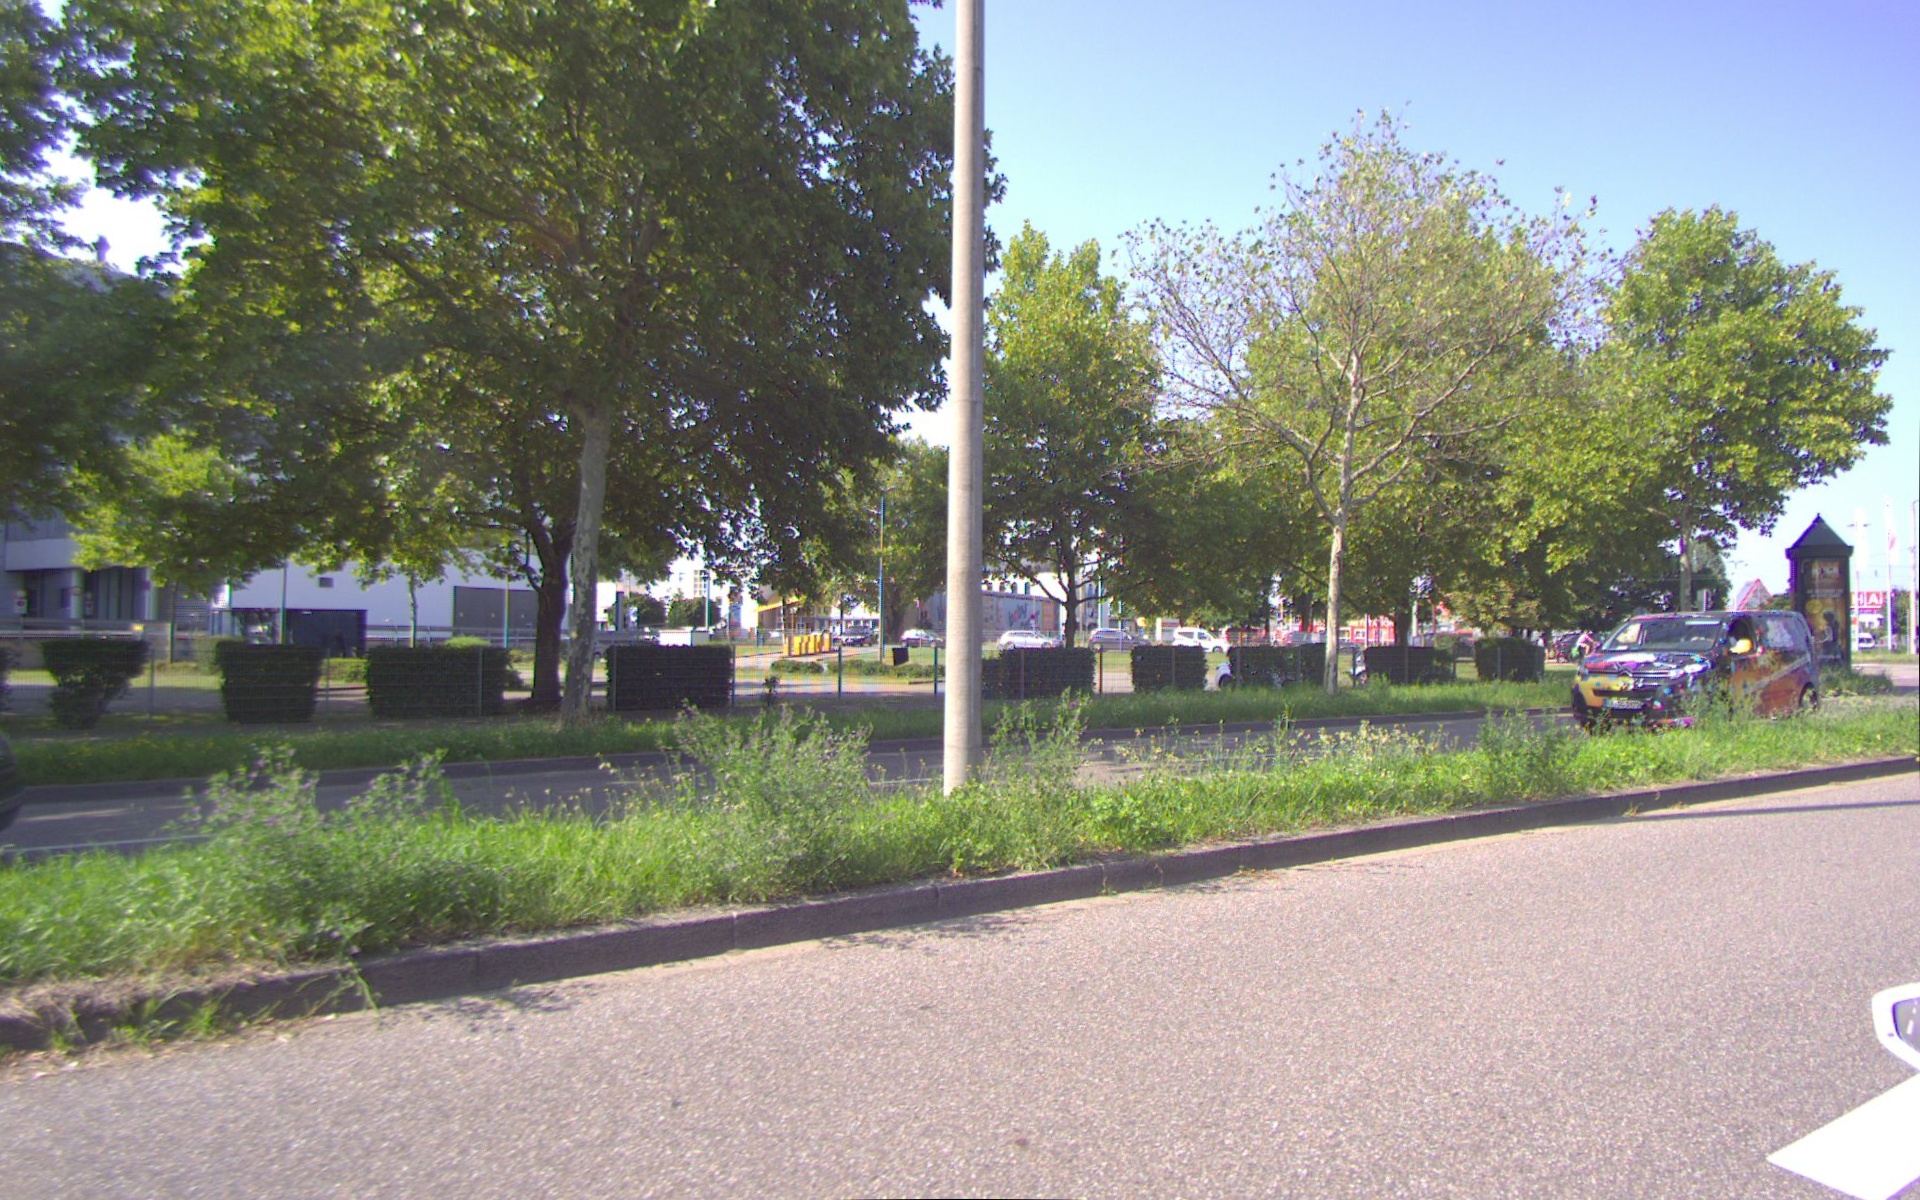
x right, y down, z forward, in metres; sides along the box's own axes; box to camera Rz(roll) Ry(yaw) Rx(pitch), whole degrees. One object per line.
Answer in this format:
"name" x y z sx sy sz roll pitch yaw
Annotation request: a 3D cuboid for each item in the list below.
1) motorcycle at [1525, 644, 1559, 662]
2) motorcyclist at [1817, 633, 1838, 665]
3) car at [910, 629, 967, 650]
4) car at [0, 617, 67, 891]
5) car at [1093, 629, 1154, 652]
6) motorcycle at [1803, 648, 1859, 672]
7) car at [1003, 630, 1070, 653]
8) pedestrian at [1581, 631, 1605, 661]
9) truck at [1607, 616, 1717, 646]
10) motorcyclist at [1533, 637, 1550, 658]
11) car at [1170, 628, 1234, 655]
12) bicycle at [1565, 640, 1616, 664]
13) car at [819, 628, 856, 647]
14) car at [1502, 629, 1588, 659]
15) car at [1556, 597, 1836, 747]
"motorcycle" 33.783 3.067 58.327 1.689 0.957 0.711 0 -1 26
"motorcyclist" 44.564 2.508 51.610 0.671 1.593 0.683 0 -1 25
"car" -1.593 2.950 75.594 3.921 1.565 1.841 -1 -2 19
"car" -6.945 0.812 4.972 3.452 1.505 1.668 2 -1 -31
"car" 11.429 2.832 70.209 3.925 1.565 1.838 -1 -3 26
"motorcycle" 44.676 3.057 51.544 2.037 1.151 0.677 0 -2 26
"car" 5.576 2.993 73.055 4.500 1.565 1.870 1 -1 22
"pedestrian" 35.271 2.559 55.993 1.038 1.595 0.868 0 -1 25
"truck" 73.074 3.306 104.882 8.844 2.996 3.512 -1 -3 25
"motorcyclist" 33.766 2.775 58.350 0.815 1.194 0.691 0 -1 26
"car" 16.141 2.756 66.986 3.924 1.701 1.869 0 -1 24
"bicycle" 35.182 2.875 56.054 2.316 1.252 0.873 0 -1 25
"car" -10.110 3.079 82.494 1.816 1.565 3.974 1 -2 -26
"car" 34.505 2.585 59.388 4.228 1.600 1.571 0 -1 23
"car" 11.625 1.078 15.811 4.514 2.054 1.923 2 -3 -31
